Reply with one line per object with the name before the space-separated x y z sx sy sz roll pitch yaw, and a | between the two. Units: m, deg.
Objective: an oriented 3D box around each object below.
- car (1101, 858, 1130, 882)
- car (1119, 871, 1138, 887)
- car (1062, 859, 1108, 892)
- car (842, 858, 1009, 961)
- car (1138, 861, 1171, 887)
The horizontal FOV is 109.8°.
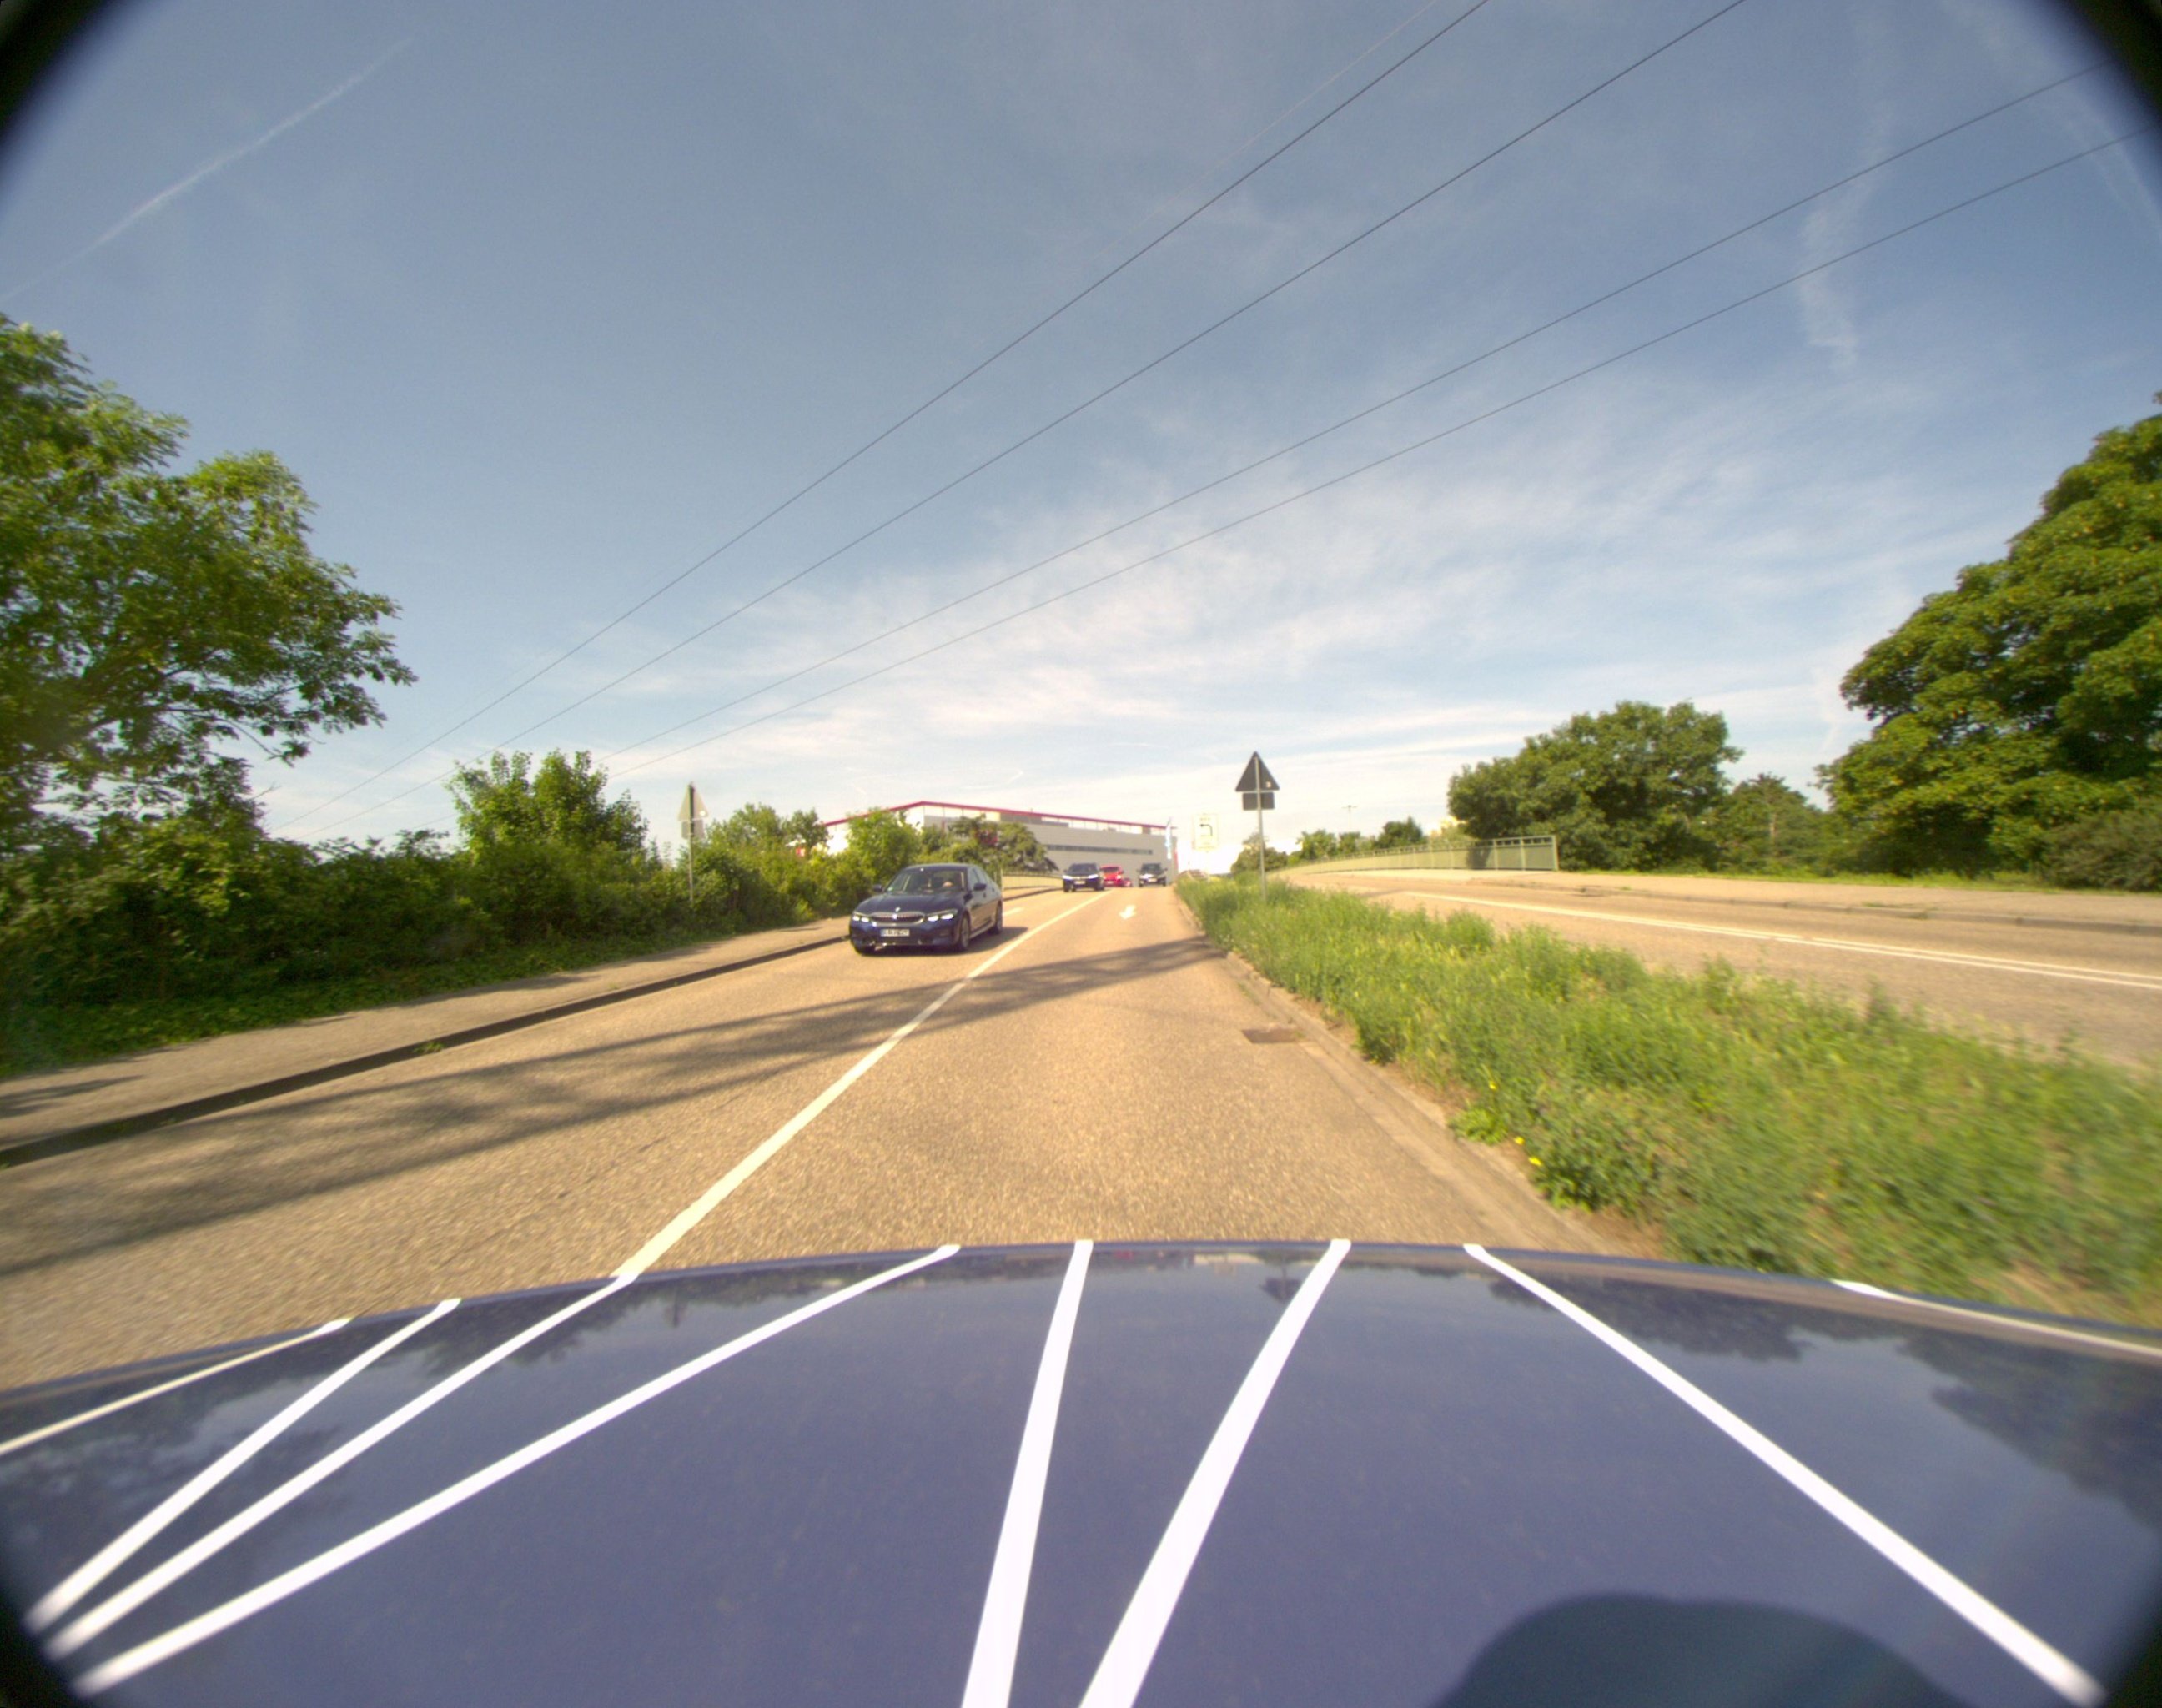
car | 3.042 1.442 65.924 1.987 1.895 4.148 -3 -3 8
car | 5.273 2.838 84.435 1.776 1.648 4.149 -2 -3 8
car | 0.256 1.112 39.833 1.860 1.519 4.147 -4 -2 6
car | -2.600 0.974 13.853 1.791 1.474 4.524 -3 -3 3
car | 4.507 1.195 46.419 1.848 1.410 4.002 -2 0 6
